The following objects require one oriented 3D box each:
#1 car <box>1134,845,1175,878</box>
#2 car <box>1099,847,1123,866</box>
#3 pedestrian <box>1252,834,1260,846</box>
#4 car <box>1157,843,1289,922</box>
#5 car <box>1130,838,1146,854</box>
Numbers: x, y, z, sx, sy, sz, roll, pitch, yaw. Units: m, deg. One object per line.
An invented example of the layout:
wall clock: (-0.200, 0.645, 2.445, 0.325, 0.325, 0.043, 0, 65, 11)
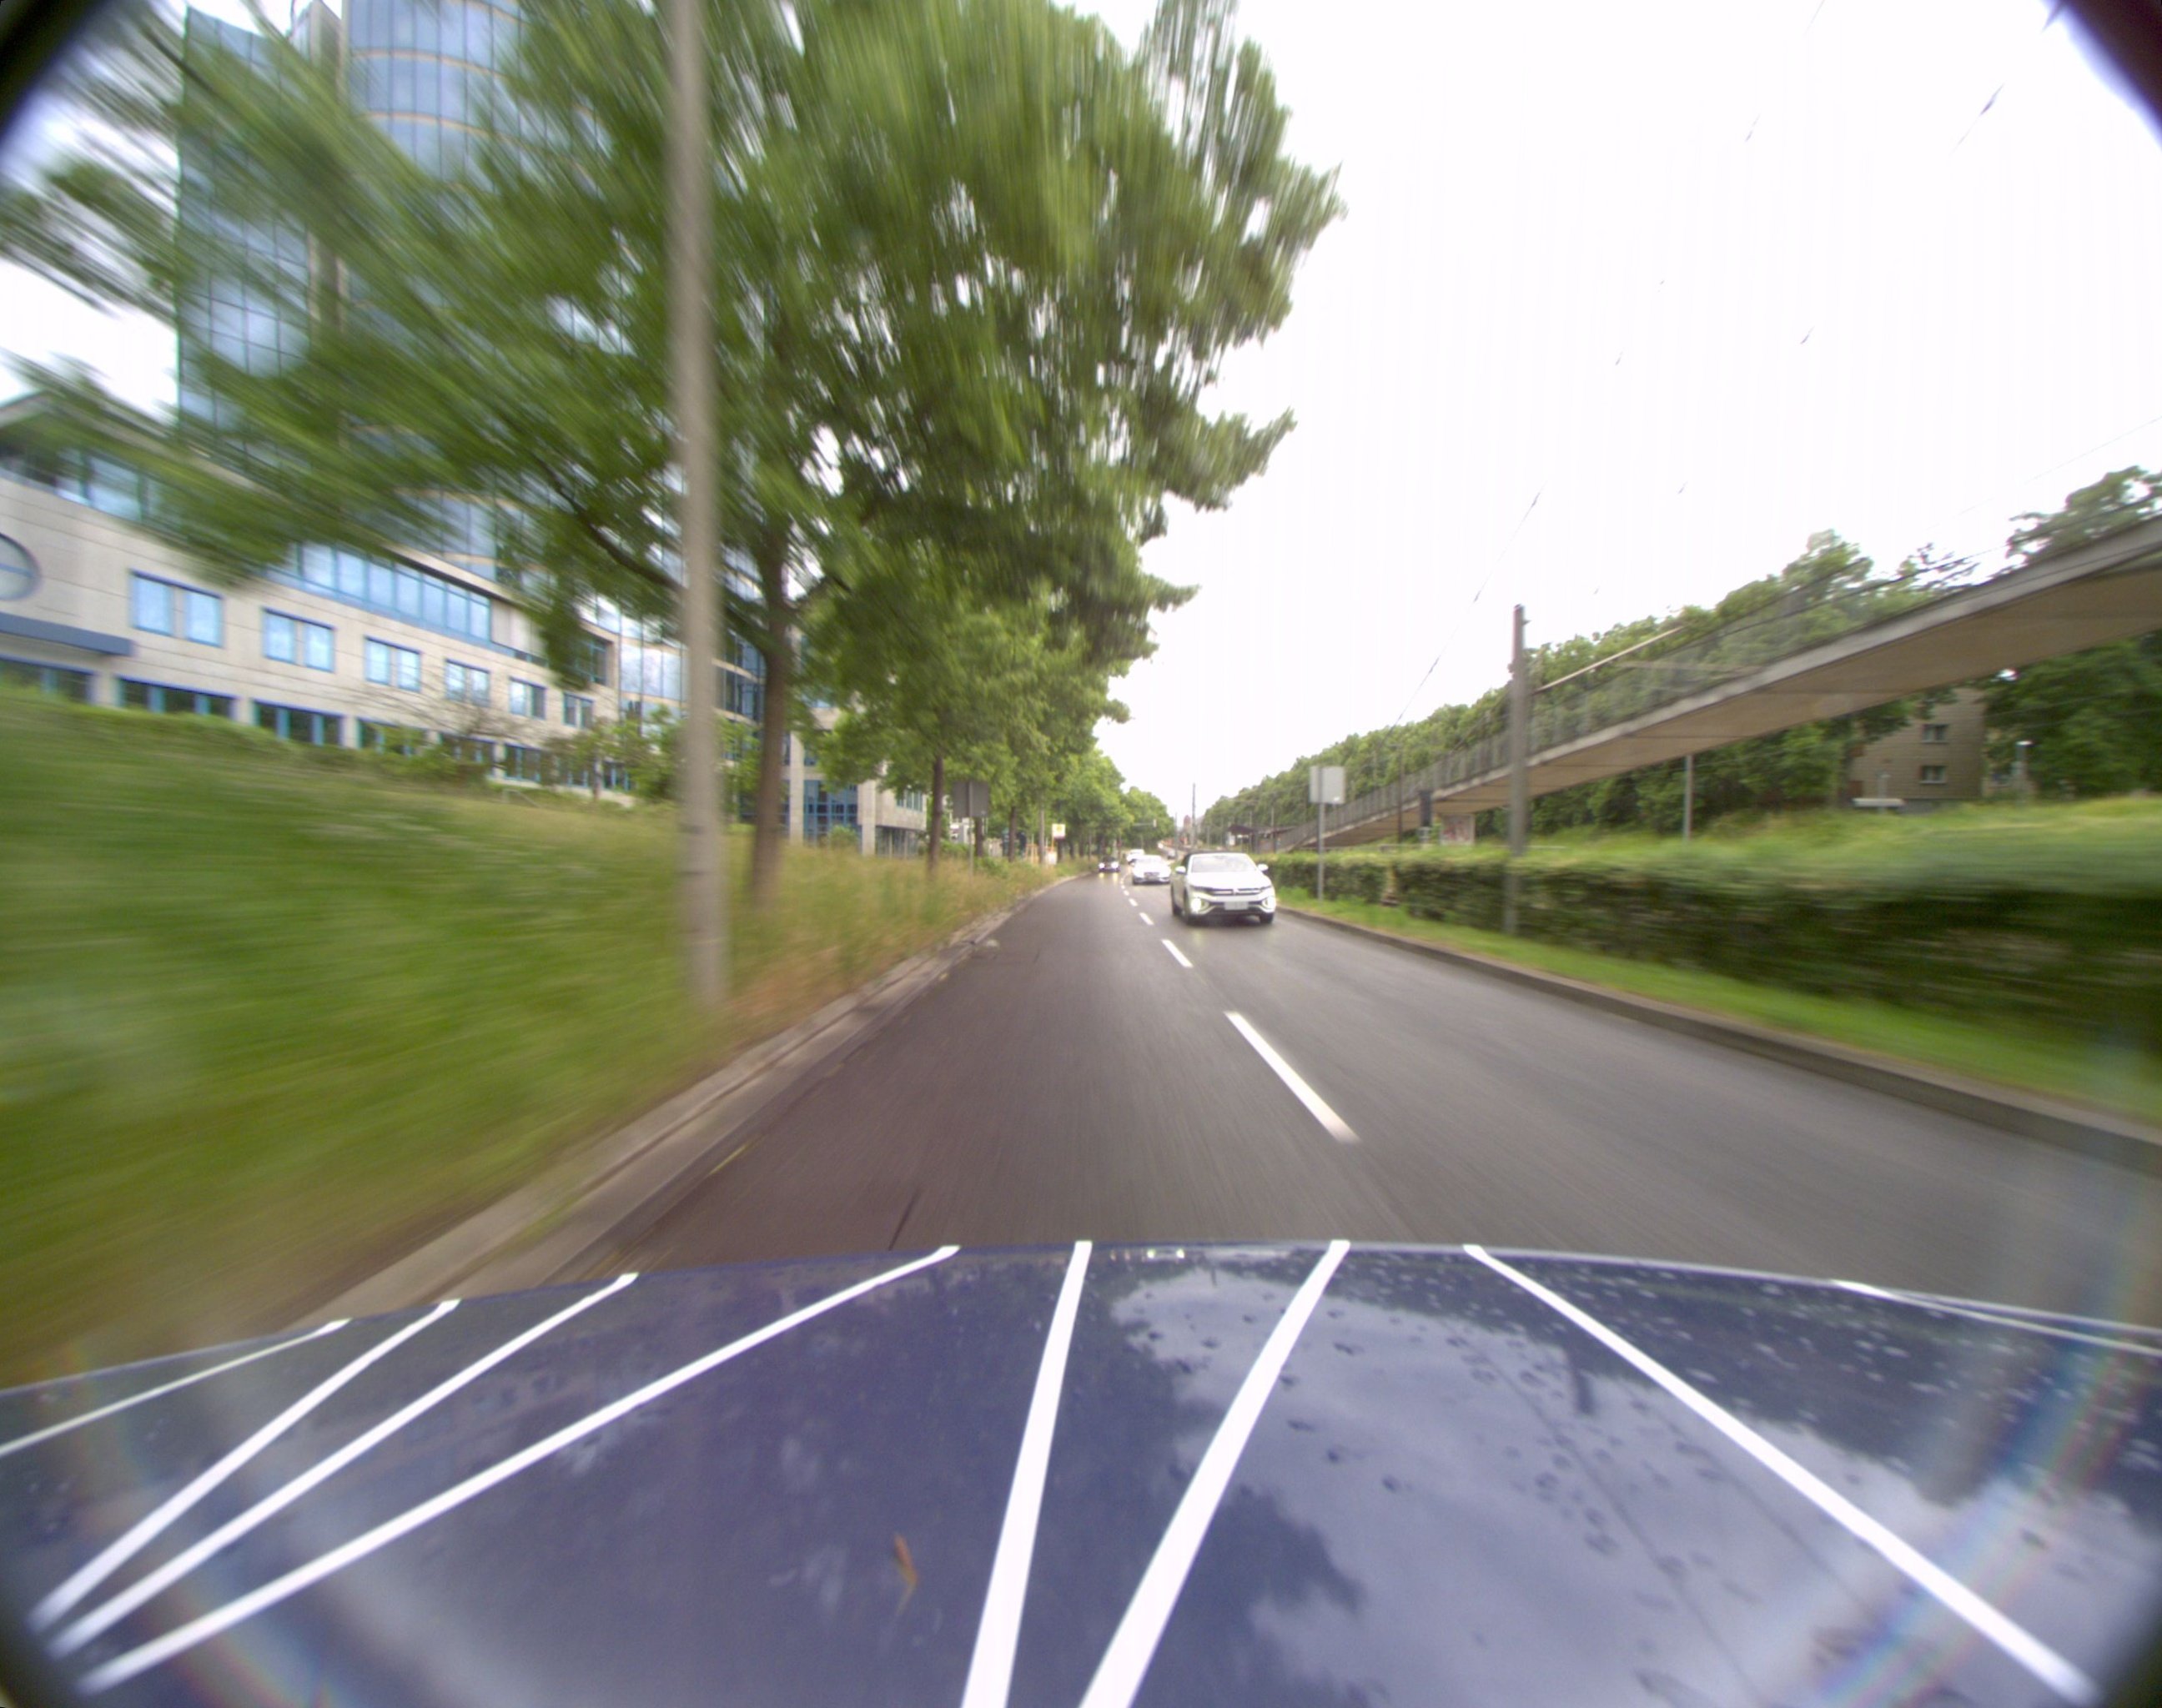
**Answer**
car: (3.795, 0.325, 39.226, 1.959, 1.472, 4.700, -2, 1, 6)
car: (2.686, 0.200, 67.007, 1.960, 1.469, 4.699, -2, 1, 4)
pedestrian: (19.940, -1.569, 86.471, 0.754, 1.348, 0.692, 0, 2, 6)
car: (3.008, 0.515, 17.171, 1.960, 1.457, 4.697, -2, 1, -2)
car: (7.436, -1.066, 99.076, 1.959, 1.914, 4.845, -2, 1, 5)
